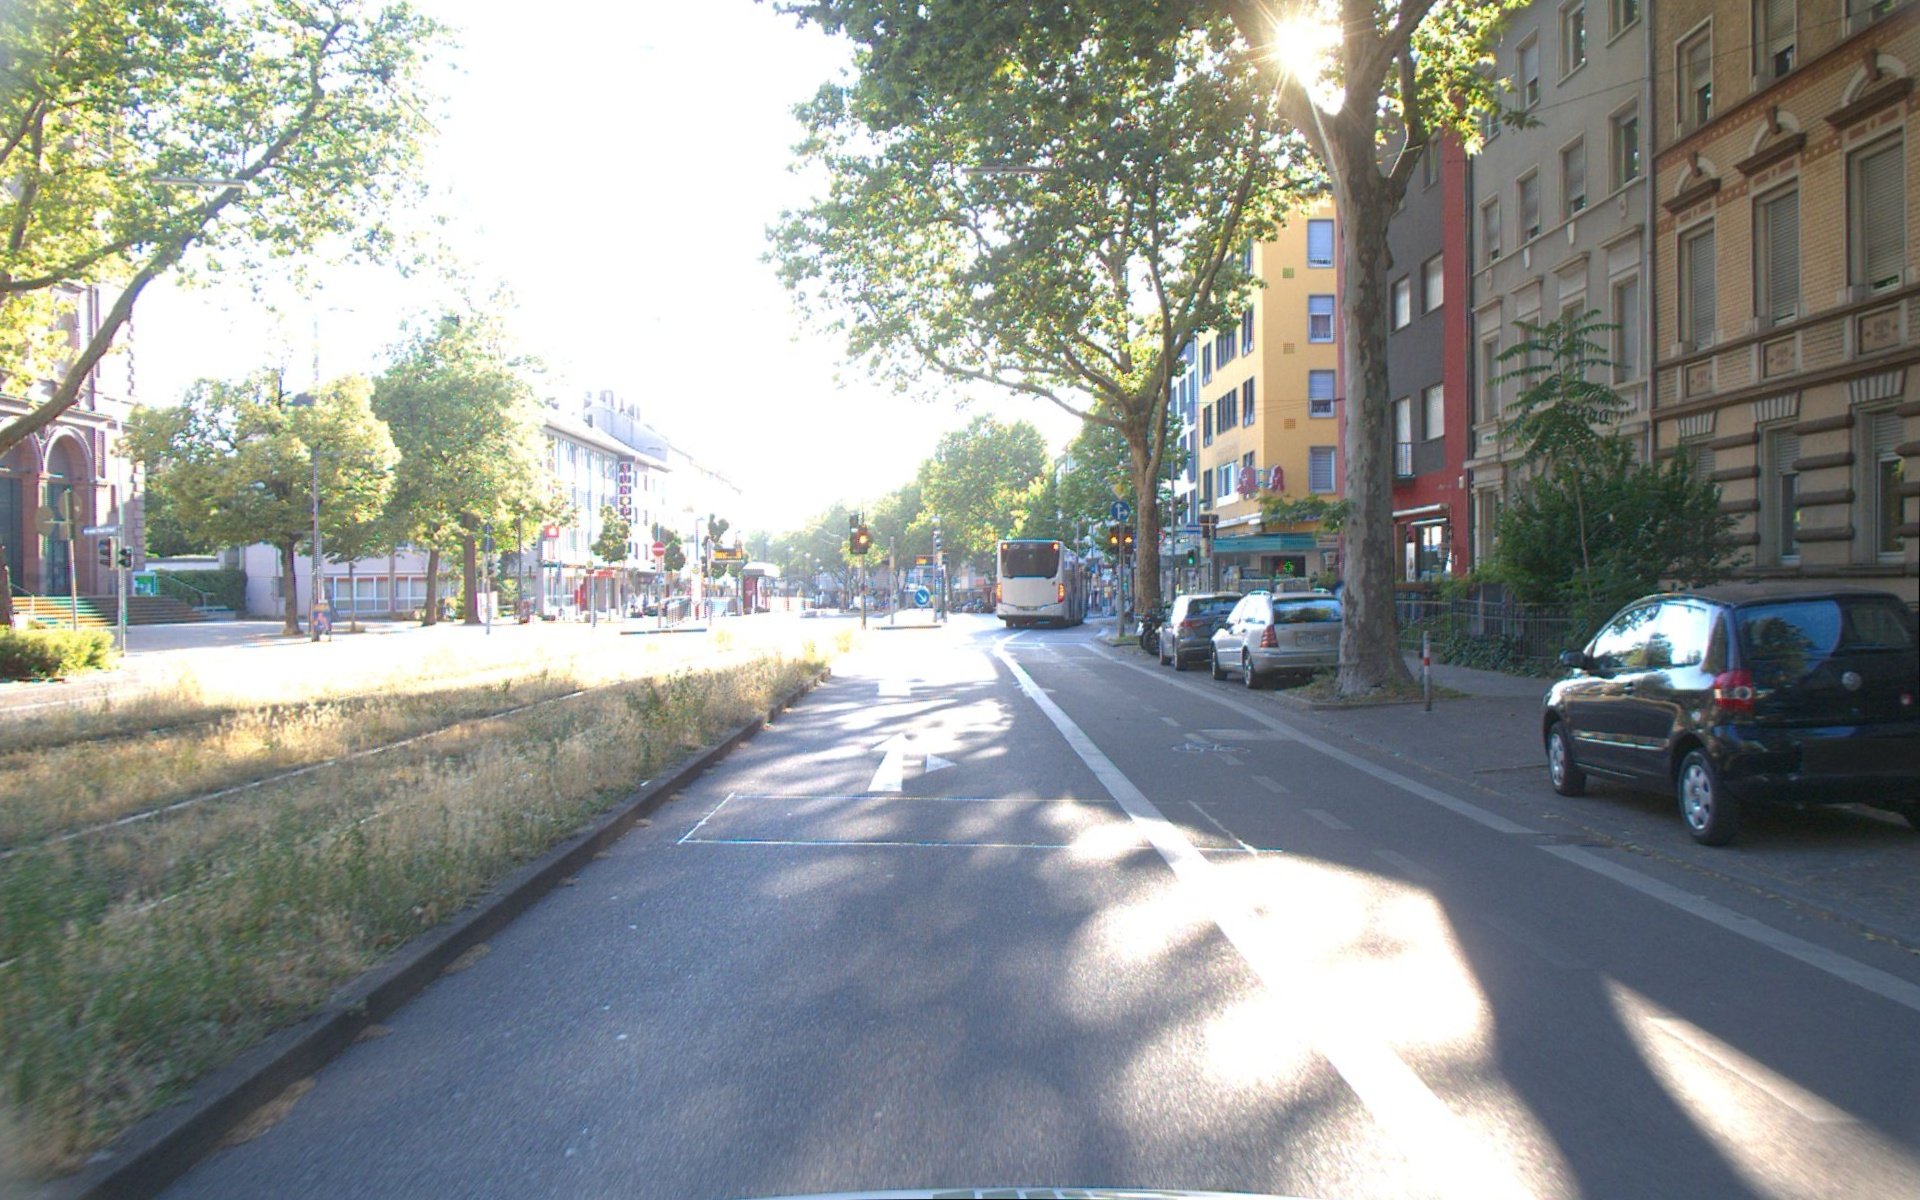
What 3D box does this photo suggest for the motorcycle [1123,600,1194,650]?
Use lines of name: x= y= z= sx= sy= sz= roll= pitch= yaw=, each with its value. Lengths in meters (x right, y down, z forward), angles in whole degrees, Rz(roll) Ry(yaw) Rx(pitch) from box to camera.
motorcycle: x=4.844 y=0.598 z=40.302 sx=1.982 sy=1.172 sz=0.592 roll=-1 pitch=0 yaw=-43

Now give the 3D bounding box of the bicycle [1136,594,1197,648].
bicycle: x=5.204 y=0.522 z=41.682 sx=0.683 sy=1.224 sz=1.839 roll=2 pitch=4 yaw=38

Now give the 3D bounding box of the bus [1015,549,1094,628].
bus: x=4.275 y=-0.457 z=72.834 sx=2.752 sy=3.155 sz=9.101 roll=2 pitch=0 yaw=7

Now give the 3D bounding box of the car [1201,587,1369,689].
car: x=5.096 y=0.539 z=26.516 sx=1.640 sy=1.477 sz=4.569 roll=0 pitch=0 yaw=-2

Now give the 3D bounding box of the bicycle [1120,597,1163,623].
bicycle: x=7.636 y=0.432 z=69.602 sx=1.736 sy=1.039 sz=0.694 roll=-2 pitch=0 yaw=-1

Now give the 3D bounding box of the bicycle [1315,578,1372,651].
bicycle: x=8.018 y=0.291 z=34.657 sx=0.594 sy=1.451 sz=2.396 roll=2 pitch=0 yaw=0

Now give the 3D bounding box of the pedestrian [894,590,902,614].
pedestrian: x=-2.332 y=0.077 z=62.035 sx=0.285 sy=0.890 sz=0.344 roll=2 pitch=0 yaw=-3

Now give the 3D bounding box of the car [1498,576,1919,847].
car: x=5.324 y=0.635 z=11.724 sx=1.620 sy=1.572 sz=3.999 roll=-1 pitch=0 yaw=-1

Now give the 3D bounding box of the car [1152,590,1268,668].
car: x=4.877 y=0.520 z=32.780 sx=1.675 sy=1.421 sz=4.322 roll=0 pitch=0 yaw=0

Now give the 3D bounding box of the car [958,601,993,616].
car: x=1.866 y=1.025 z=200.342 sx=3.846 sy=1.729 sz=1.816 roll=0 pitch=0 yaw=-29

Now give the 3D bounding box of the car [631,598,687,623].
car: x=-23.330 y=0.798 z=128.225 sx=3.939 sy=1.847 sz=1.983 roll=0 pitch=0 yaw=-27

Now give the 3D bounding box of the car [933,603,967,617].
car: x=-1.234 y=1.263 z=204.744 sx=3.846 sy=1.624 sz=1.675 roll=0 pitch=0 yaw=-29

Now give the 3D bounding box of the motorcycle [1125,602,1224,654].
motorcycle: x=4.944 y=0.629 z=38.126 sx=2.176 sy=1.081 sz=0.762 roll=-2 pitch=1 yaw=-23

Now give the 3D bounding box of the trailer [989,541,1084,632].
trailer: x=3.076 y=-0.475 z=63.953 sx=2.752 sy=3.164 sz=8.801 roll=2 pitch=0 yaw=8

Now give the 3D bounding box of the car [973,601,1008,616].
car: x=3.653 y=1.024 z=197.251 sx=3.846 sy=1.729 sz=1.816 roll=0 pitch=0 yaw=-29

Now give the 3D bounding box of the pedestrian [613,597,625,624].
pedestrian: x=-26.098 y=0.785 z=126.647 sx=0.694 sy=2.049 sz=0.949 roll=-1 pitch=0 yaw=-1
